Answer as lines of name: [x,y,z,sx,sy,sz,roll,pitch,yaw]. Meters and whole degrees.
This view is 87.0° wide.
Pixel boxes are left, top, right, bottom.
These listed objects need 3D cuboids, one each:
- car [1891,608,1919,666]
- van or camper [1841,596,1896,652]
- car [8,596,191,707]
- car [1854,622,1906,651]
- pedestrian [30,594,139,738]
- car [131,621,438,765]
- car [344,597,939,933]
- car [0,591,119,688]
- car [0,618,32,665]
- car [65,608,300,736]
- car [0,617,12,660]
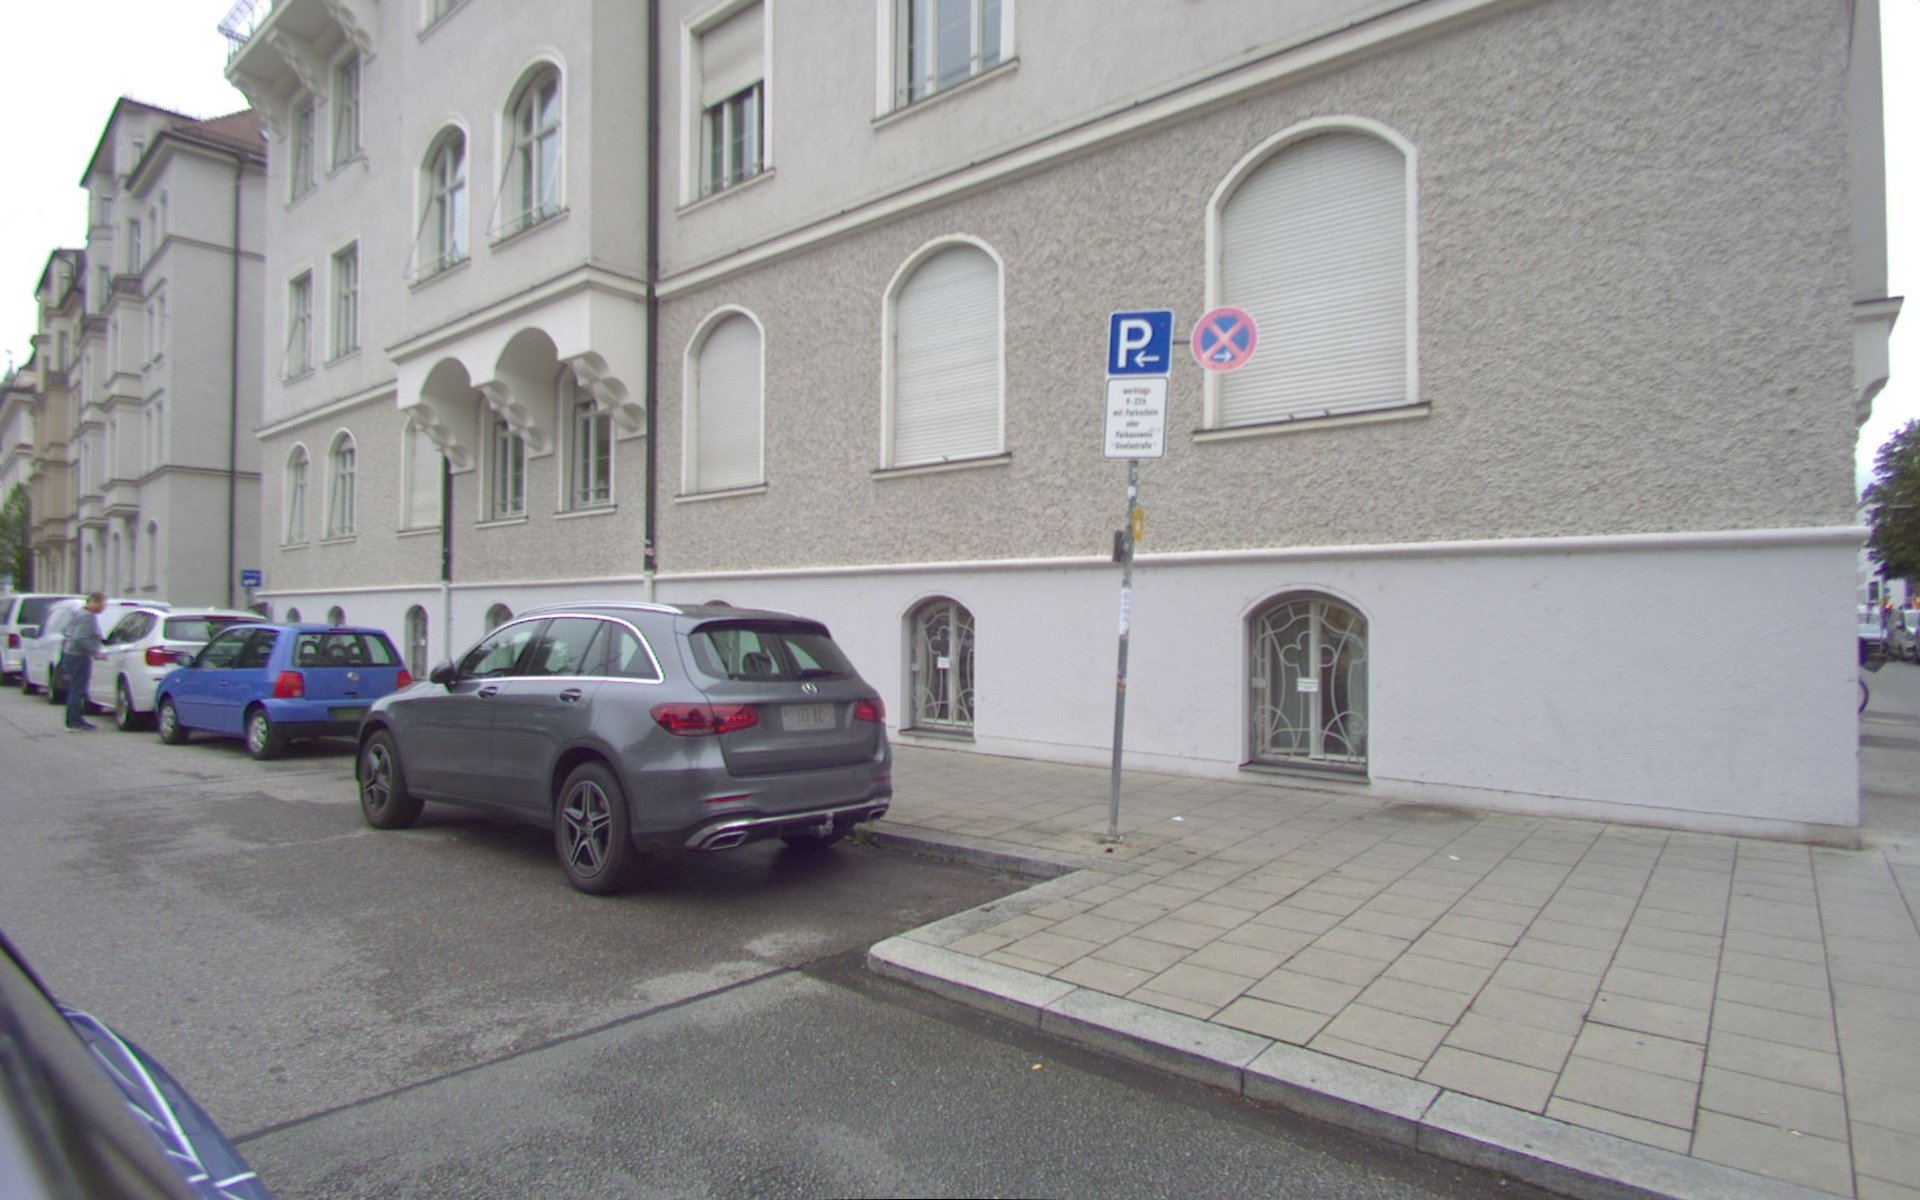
car: [35.256,1.328,36.382,2.121,2.009,4.762,-1,-2,37]
van or camper: [50.221,1.258,56.027,1.998,2.935,6.352,0,-1,39]
car: [-15.994,0.888,18.711,5.033,1.802,1.729,-1,-3,40]
car: [46.298,1.828,50.969,1.695,1.356,3.493,-1,-2,39]
pedestrian: [-11.372,0.826,13.149,0.876,1.769,0.951,-1,-1,42]
car: [-8.001,0.990,11.931,3.652,1.425,1.678,0,-2,33]
car: [-2.413,0.843,6.996,4.492,1.614,1.729,-1,-3,39]
car: [-20.667,0.848,22.724,4.953,1.953,1.837,-1,-3,40]
car: [-30.728,1.262,31.752,4.376,1.423,1.836,-1,-3,41]
car: [-11.482,0.956,14.833,4.492,1.614,1.729,-1,-3,39]
car: [-34.489,1.295,35.132,4.376,1.475,1.836,-1,-3,41]
